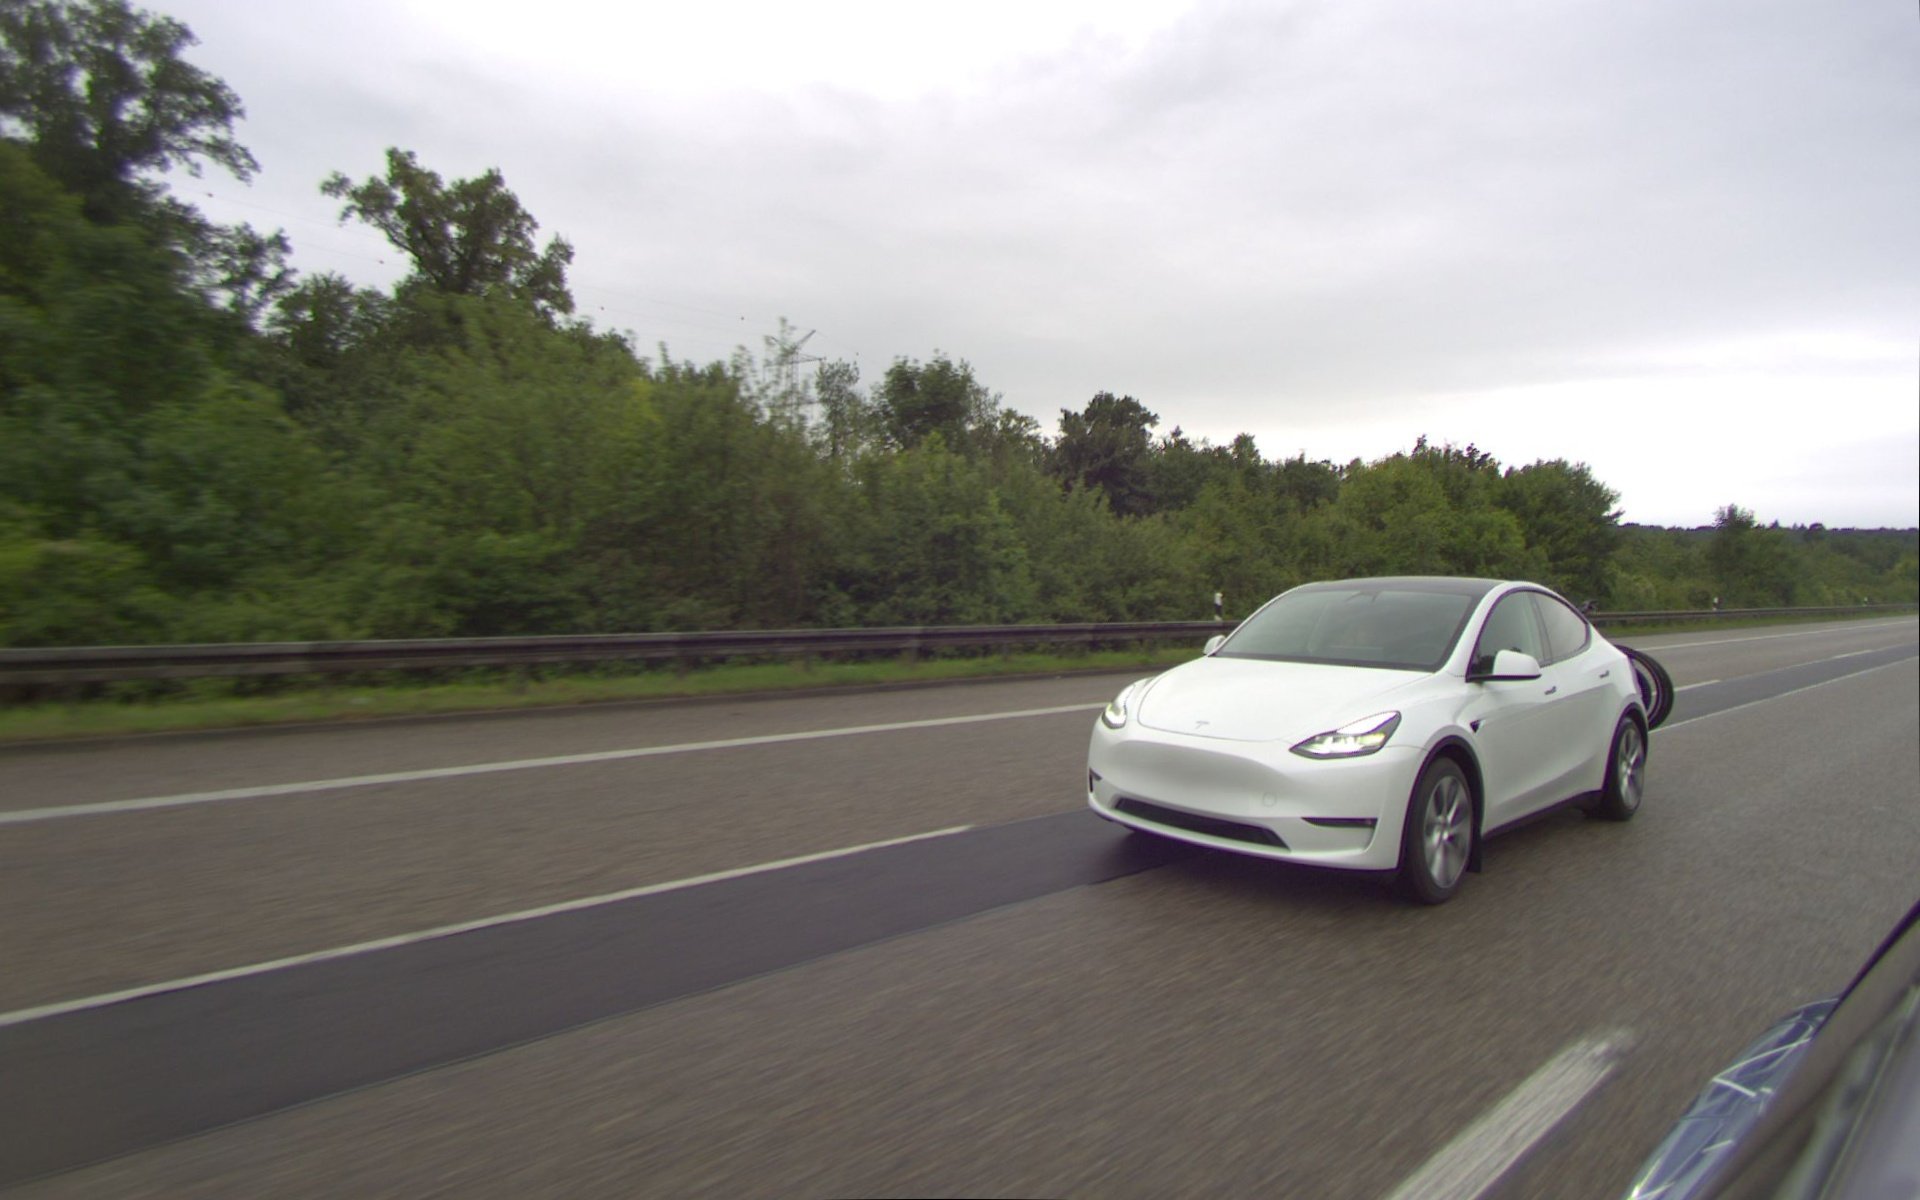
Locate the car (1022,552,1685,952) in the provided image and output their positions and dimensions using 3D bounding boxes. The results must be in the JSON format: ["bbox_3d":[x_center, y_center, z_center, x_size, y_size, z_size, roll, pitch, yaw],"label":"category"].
[{"bbox_3d":[2.766,0.573,6.347,4.878,1.587,1.863,-1,1,-42],"label":"car"}]

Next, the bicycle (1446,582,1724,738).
[{"bbox_3d":[5.049,0.414,8.262,0.898,1.104,1.756,-2,2,-41],"label":"bicycle"}]
